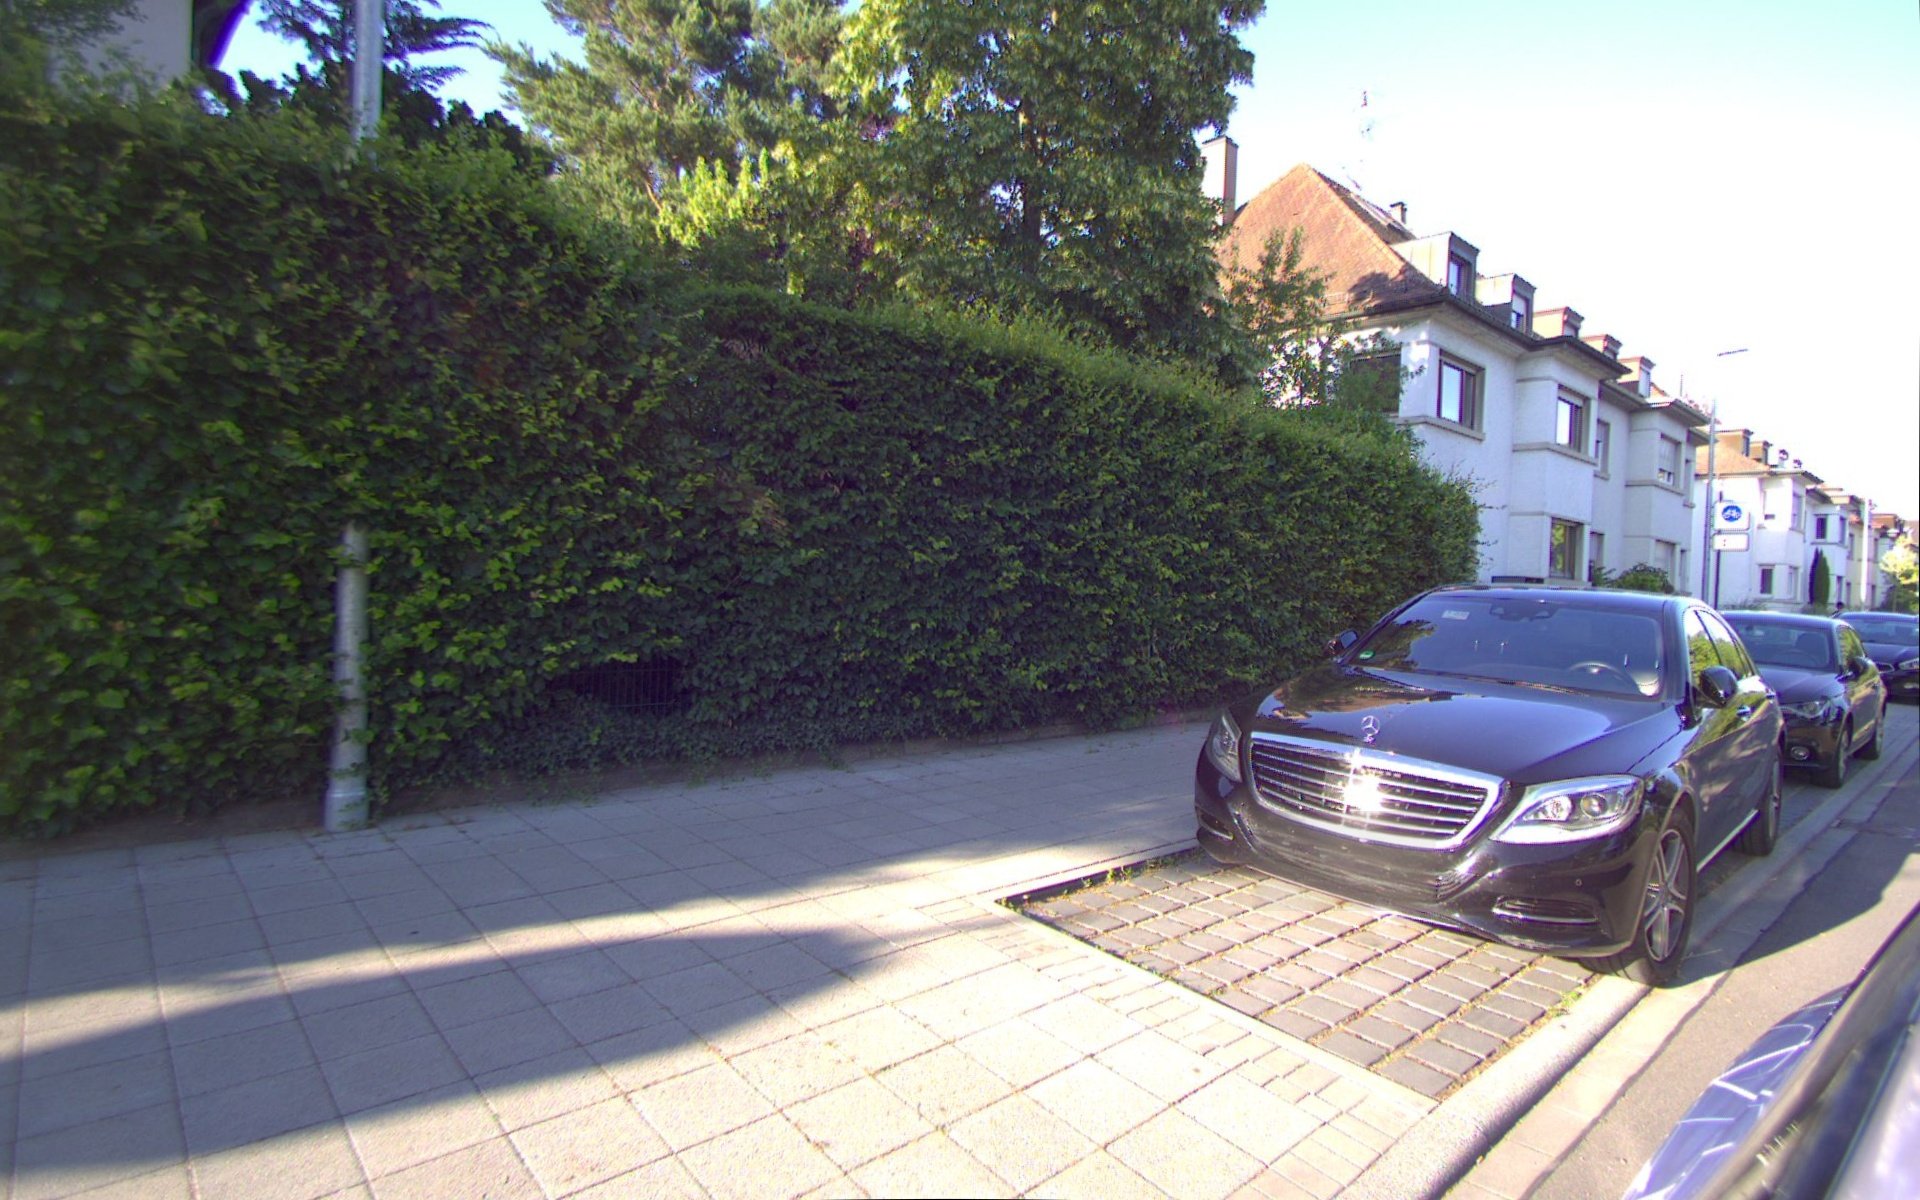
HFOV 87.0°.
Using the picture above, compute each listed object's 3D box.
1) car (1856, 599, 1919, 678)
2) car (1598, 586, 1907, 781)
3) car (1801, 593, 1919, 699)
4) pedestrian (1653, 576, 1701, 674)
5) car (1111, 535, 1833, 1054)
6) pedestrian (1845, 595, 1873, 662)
[{"bbox_3d":[19.954,0.783,20.955,3.410,1.554,1.679,1,-1,-41],"label":"car"},{"bbox_3d":[7.779,0.666,9.806,3.932,1.496,1.781,1,-1,-43],"label":"car"},{"bbox_3d":[15.843,0.737,17.291,4.007,1.616,1.793,1,-1,-43],"label":"car"},{"bbox_3d":[14.139,0.474,19.946,0.809,1.869,0.587,0,0,-41],"label":"pedestrian"},{"bbox_3d":[3.101,0.553,5.439,4.835,1.517,2.005,1,3,-45],"label":"car"},{"bbox_3d":[24.955,0.782,28.087,0.579,1.821,0.530,1,-1,-44],"label":"pedestrian"}]
